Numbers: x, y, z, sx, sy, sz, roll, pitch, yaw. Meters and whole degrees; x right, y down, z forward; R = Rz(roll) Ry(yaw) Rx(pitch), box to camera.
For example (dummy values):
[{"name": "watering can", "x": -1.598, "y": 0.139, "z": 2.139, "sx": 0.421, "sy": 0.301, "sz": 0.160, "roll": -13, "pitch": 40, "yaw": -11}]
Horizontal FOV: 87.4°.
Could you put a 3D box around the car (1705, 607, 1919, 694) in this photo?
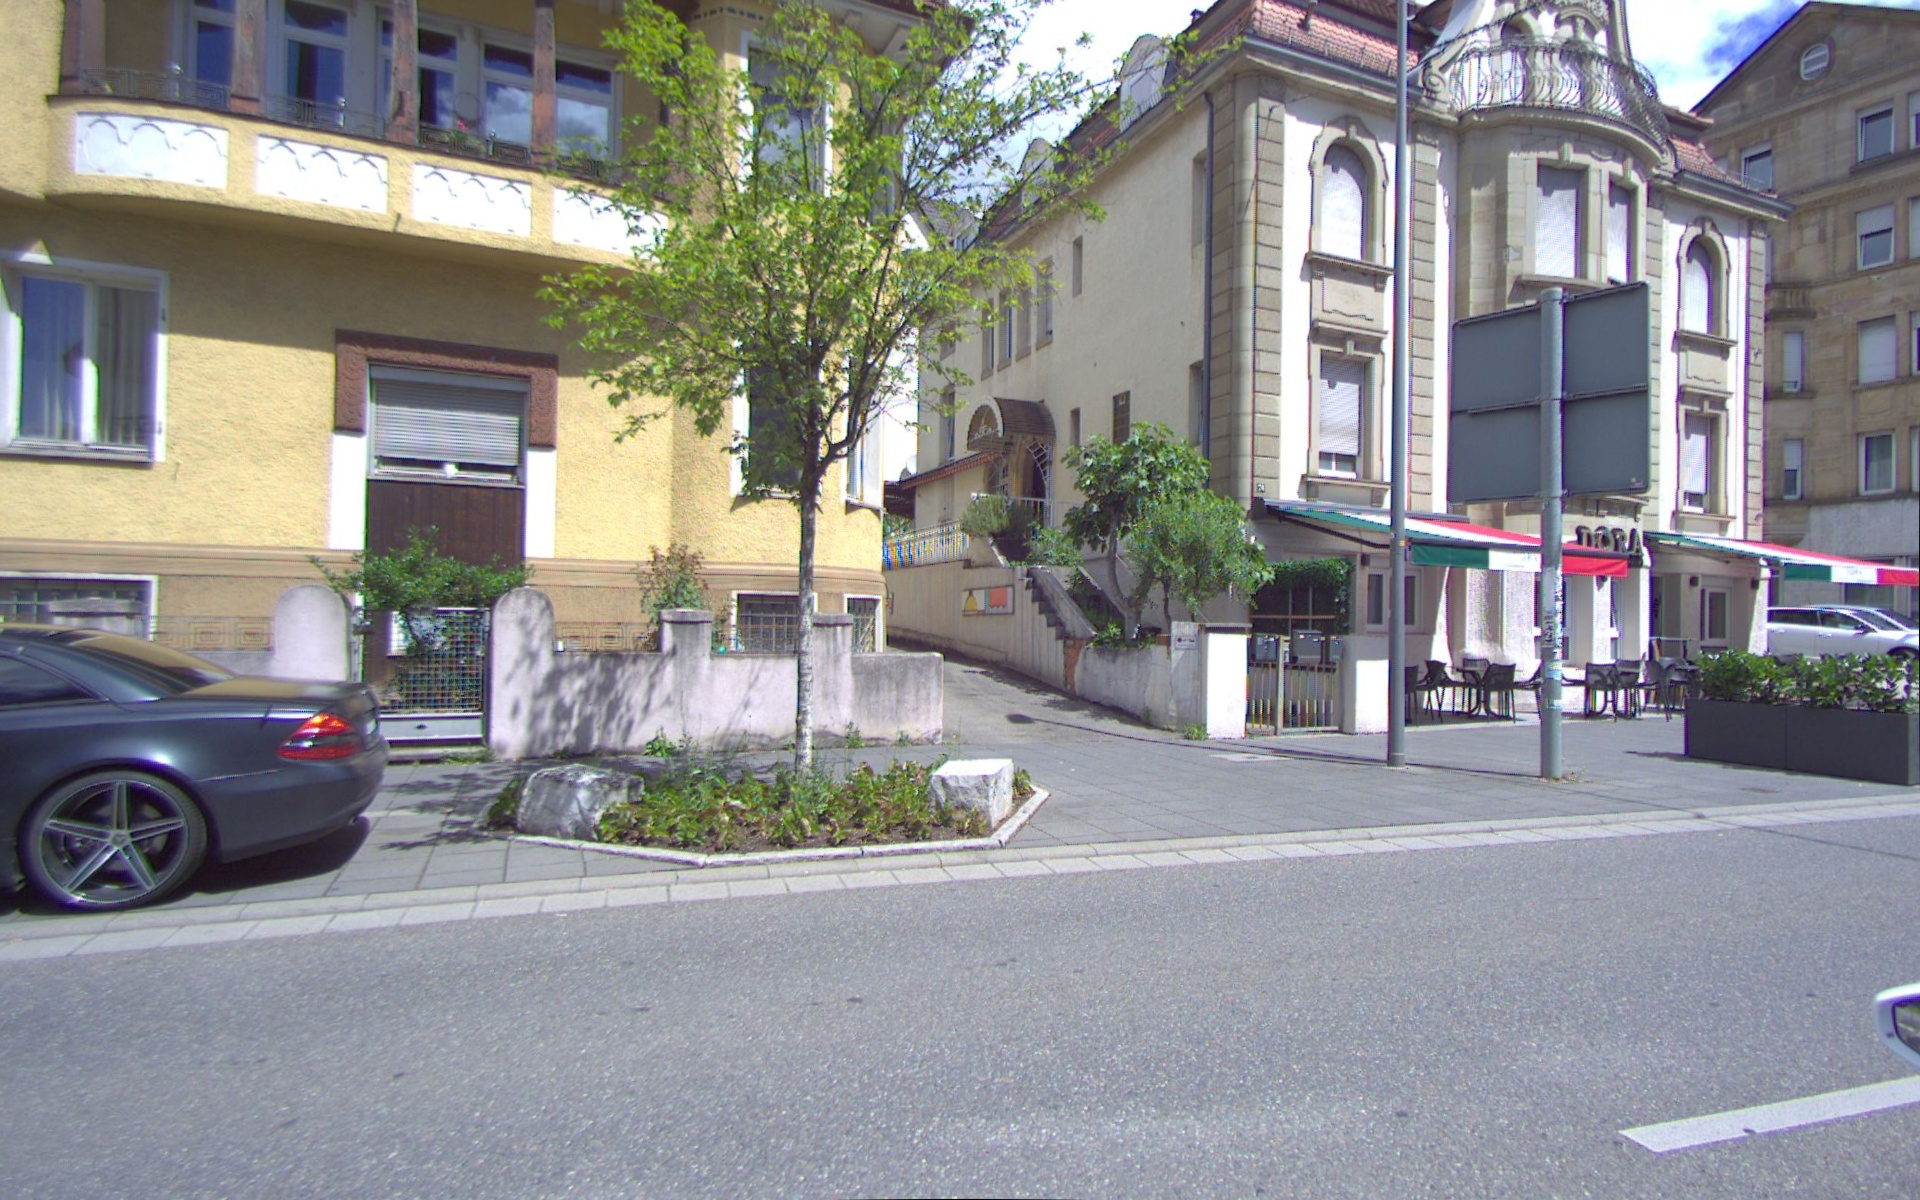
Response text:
[{"name": "car", "x": 20.149, "y": 1.097, "z": 23.168, "sx": 1.982, "sy": 1.799, "sz": 4.386, "roll": 1, "pitch": -1, "yaw": -37}]

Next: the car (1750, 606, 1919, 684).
[{"name": "car", "x": 22.315, "y": 1.068, "z": 24.876, "sx": 1.982, "sy": 1.773, "sz": 3.957, "roll": 1, "pitch": -1, "yaw": -37}]

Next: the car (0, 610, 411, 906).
[{"name": "car", "x": -5.175, "y": 0.682, "z": 4.791, "sx": 4.351, "sy": 1.262, "sz": 1.704, "roll": 1, "pitch": 0, "yaw": -25}]

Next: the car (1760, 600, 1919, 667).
[{"name": "car", "x": 24.391, "y": 0.863, "z": 27.091, "sx": 1.884, "sy": 1.684, "sz": 3.973, "roll": 1, "pitch": -1, "yaw": -26}]
